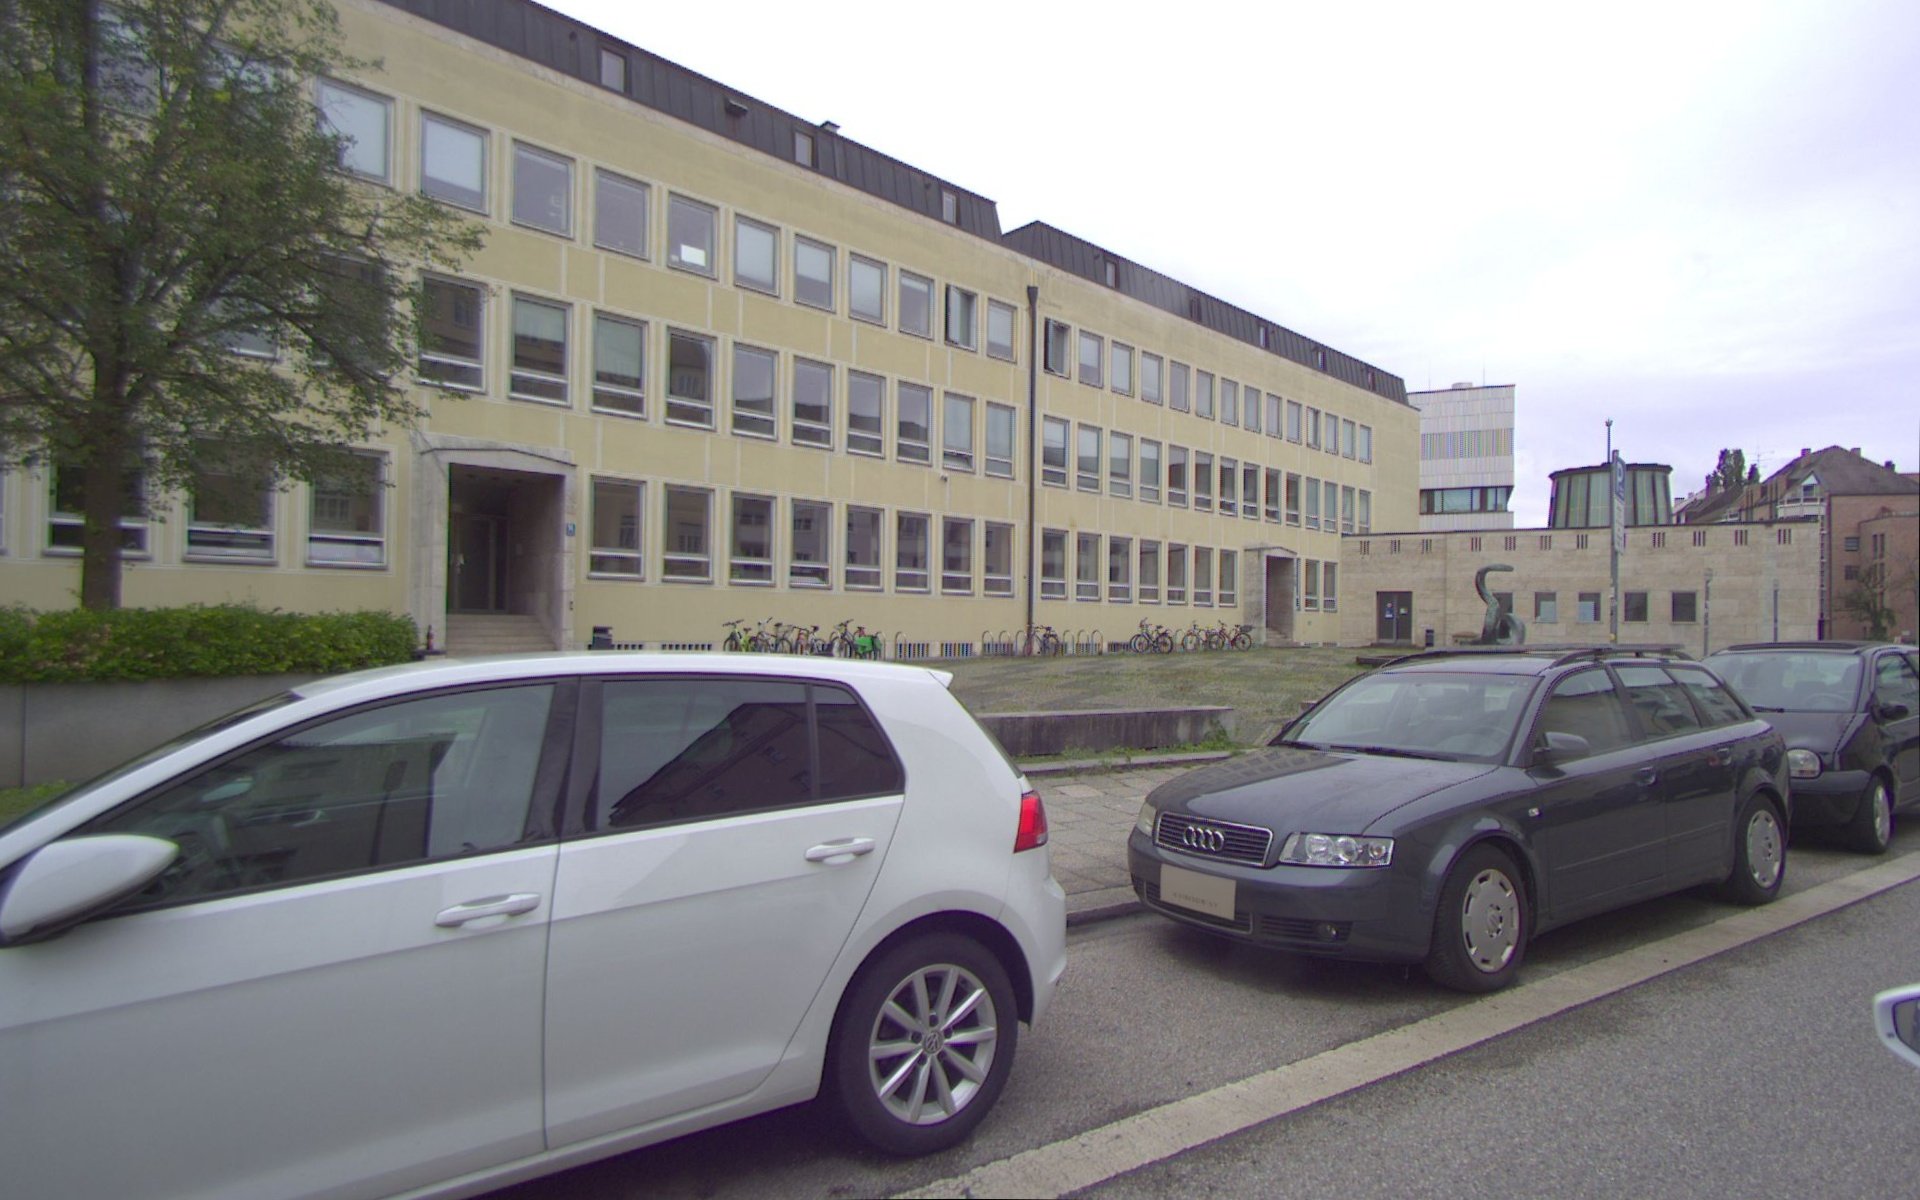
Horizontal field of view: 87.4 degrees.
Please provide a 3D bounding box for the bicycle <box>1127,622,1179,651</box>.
[{"bbox_3d":[7.080,1.328,36.969,0.620,1.028,1.931,1,-1,-39],"label":"bicycle"}]

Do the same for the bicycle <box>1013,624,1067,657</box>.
[{"bbox_3d":[2.562,1.290,32.433,0.619,1.028,1.933,1,-1,-36],"label":"bicycle"}]

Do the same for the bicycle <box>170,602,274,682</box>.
[{"bbox_3d":[-12.637,0.676,17.166,2.409,1.265,1.050,0,-1,44],"label":"bicycle"}]

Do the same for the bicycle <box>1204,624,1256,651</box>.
[{"bbox_3d":[10.664,1.468,39.676,1.923,1.028,0.622,0,-1,40],"label":"bicycle"}]

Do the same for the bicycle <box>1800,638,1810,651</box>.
[{"bbox_3d":[87.967,4.601,104.570,0.543,1.305,1.756,1,-1,30],"label":"bicycle"}]

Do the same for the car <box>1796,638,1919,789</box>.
[{"bbox_3d":[10.847,1.117,10.750,4.410,1.424,1.788,1,-3,-35],"label":"car"}]

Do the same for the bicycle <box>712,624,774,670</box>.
[{"bbox_3d":[-5.171,1.107,23.894,0.620,1.028,1.931,1,-1,-39],"label":"bicycle"}]

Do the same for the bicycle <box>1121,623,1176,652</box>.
[{"bbox_3d":[6.748,1.335,36.104,1.926,1.028,0.622,0,-1,44],"label":"bicycle"}]

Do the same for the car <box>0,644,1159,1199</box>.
[{"bbox_3d":[-1.476,0.878,2.908,4.029,1.472,1.647,1,-3,-33],"label":"car"}]

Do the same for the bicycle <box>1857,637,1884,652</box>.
[{"bbox_3d":[83.776,4.079,92.457,1.728,1.305,0.552,0,-1,30],"label":"bicycle"}]

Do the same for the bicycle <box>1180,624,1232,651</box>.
[{"bbox_3d":[9.506,1.437,38.869,0.621,1.028,1.928,1,-1,-43],"label":"bicycle"}]

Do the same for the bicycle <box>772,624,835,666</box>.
[{"bbox_3d":[-4.010,1.128,25.653,0.621,1.028,1.928,1,-1,-43],"label":"bicycle"}]

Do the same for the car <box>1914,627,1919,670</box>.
[{"bbox_3d":[38.620,1.916,38.867,1.656,1.729,4.501,0,-1,33],"label":"car"}]

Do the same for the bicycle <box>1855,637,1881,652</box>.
[{"bbox_3d":[84.108,4.122,93.035,1.728,1.305,0.552,0,-1,30],"label":"bicycle"}]

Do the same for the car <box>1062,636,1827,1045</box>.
[{"bbox_3d":[2.820,0.948,5.550,4.347,1.472,1.746,1,-3,-32],"label":"car"}]

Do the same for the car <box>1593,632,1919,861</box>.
[{"bbox_3d":[6.800,1.010,8.089,3.276,1.472,1.647,1,-3,-33],"label":"car"}]

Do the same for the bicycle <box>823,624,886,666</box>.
[{"bbox_3d":[-2.810,1.166,26.505,0.621,1.028,1.928,1,-1,-43],"label":"bicycle"}]

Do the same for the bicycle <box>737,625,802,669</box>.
[{"bbox_3d":[-4.674,1.127,24.563,0.621,1.028,1.928,1,-1,-43],"label":"bicycle"}]
